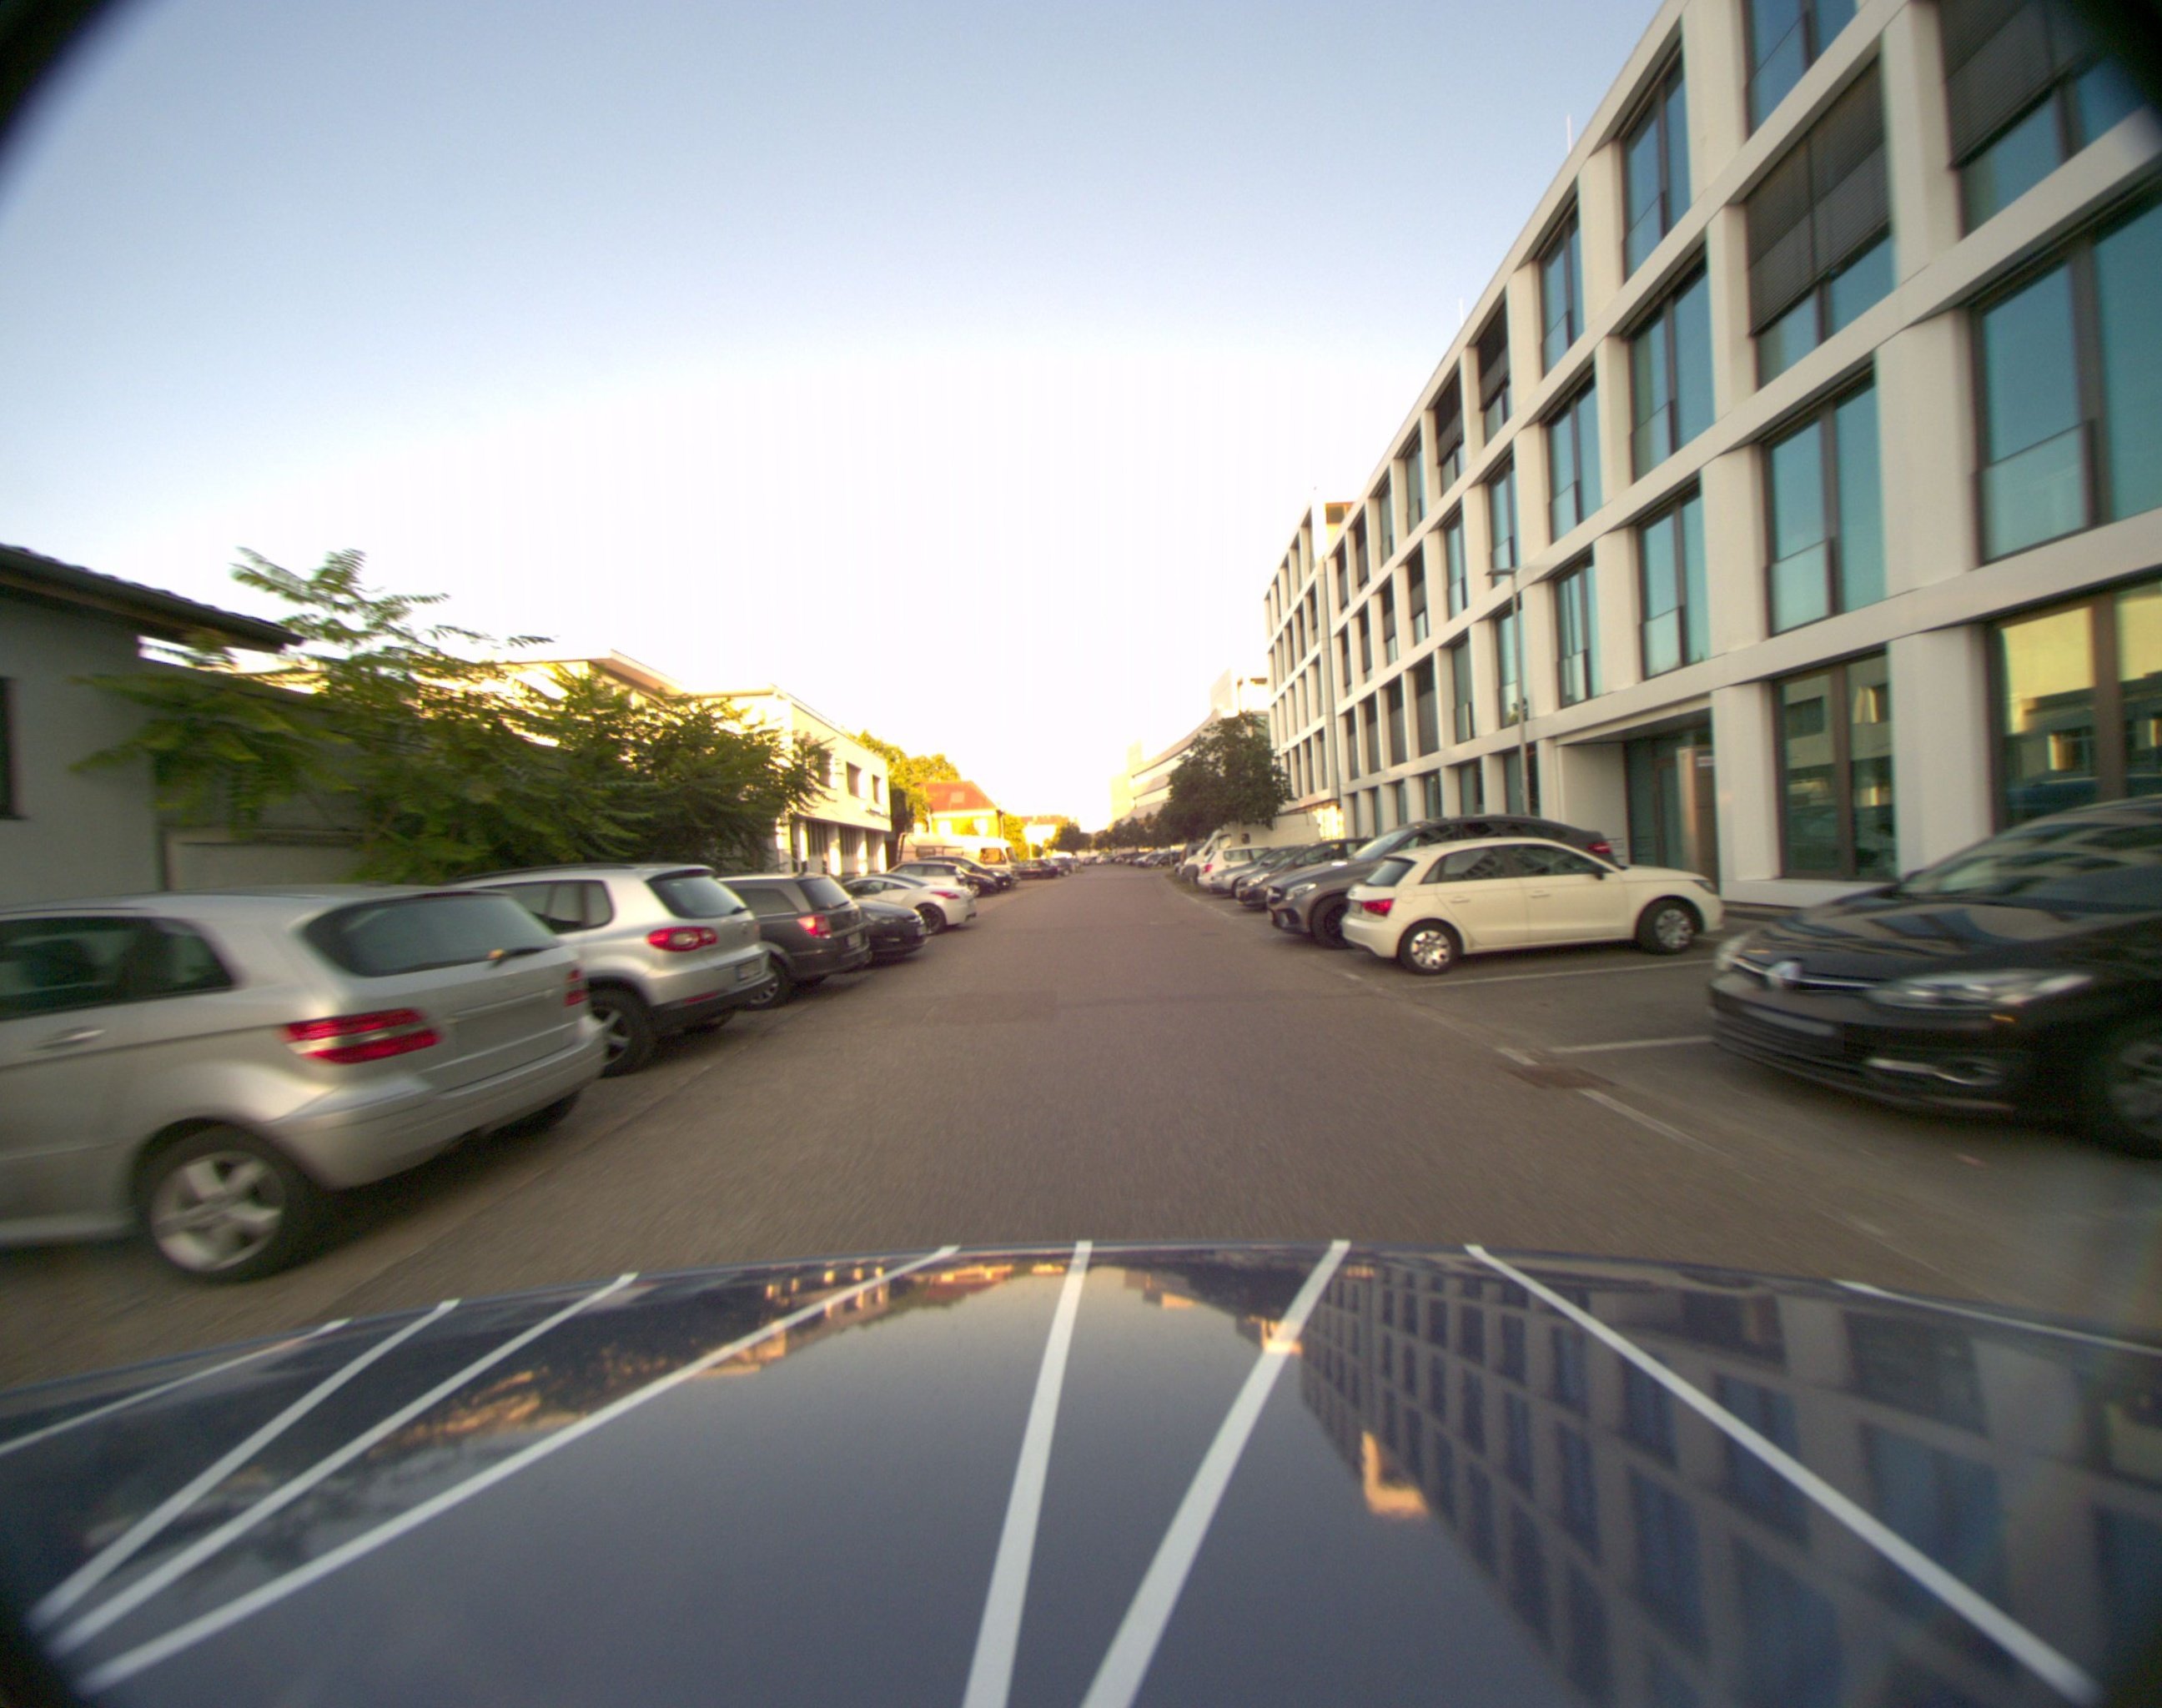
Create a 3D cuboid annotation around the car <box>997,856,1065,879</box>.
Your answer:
[{"bbox_3d":[-3.286,0.884,50.513,4.326,1.326,1.896,-2,1,-1],"label":"car"}]

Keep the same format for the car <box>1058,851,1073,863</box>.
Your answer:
[{"bbox_3d":[-1.985,0.389,96.954,1.770,1.454,4.367,-3,0,-3],"label":"car"}]

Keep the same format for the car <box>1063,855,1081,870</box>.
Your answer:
[{"bbox_3d":[-0.868,0.836,78.286,1.680,1.454,4.368,-3,0,1],"label":"car"}]

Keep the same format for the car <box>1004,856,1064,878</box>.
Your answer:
[{"bbox_3d":[-3.225,0.883,52.925,4.066,1.399,1.896,-2,0,-1],"label":"car"}]

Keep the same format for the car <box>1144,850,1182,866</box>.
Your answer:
[{"bbox_3d":[8.513,0.419,79.151,3.654,1.416,1.726,-5,0,2],"label":"car"}]

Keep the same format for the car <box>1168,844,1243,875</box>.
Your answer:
[{"bbox_3d":[7.408,0.329,45.464,4.118,1.509,1.845,-4,0,1],"label":"car"}]

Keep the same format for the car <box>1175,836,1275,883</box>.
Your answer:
[{"bbox_3d":[6.564,0.257,35.003,4.119,1.806,1.816,-4,0,-1],"label":"car"}]

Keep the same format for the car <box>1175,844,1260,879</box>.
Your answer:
[{"bbox_3d":[7.136,0.385,39.981,4.118,1.509,1.781,-4,0,2],"label":"car"}]

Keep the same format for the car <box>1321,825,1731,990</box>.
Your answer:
[{"bbox_3d":[4.905,0.585,8.859,3.674,1.502,1.697,-4,0,6],"label":"car"}]

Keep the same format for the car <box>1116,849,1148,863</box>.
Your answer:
[{"bbox_3d":[7.045,0.315,105.248,4.028,1.574,1.798,-5,0,-9],"label":"car"}]

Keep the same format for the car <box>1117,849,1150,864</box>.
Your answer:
[{"bbox_3d":[7.009,0.327,102.413,4.028,1.574,1.798,-5,0,-9],"label":"car"}]

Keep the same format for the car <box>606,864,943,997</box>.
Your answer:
[{"bbox_3d":[-4.443,1.087,11.490,4.212,1.494,1.890,-4,1,3],"label":"car"}]

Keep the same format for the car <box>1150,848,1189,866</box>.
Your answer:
[{"bbox_3d":[8.928,0.302,76.492,3.654,1.538,1.726,-5,0,2],"label":"car"}]

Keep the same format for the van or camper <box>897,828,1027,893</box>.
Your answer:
[{"bbox_3d":[-5.683,0.293,36.859,5.795,2.848,2.486,-2,1,0],"label":"van or camper"}]

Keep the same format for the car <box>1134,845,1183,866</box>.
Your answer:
[{"bbox_3d":[8.609,0.144,84.471,5.083,1.870,1.889,-5,0,-3],"label":"car"}]

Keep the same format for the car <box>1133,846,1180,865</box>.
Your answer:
[{"bbox_3d":[8.885,0.184,89.450,5.083,1.816,1.889,-5,0,-3],"label":"car"}]

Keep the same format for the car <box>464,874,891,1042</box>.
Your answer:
[{"bbox_3d":[-4.548,1.144,9.027,3.993,1.437,1.827,-4,1,2],"label":"car"}]

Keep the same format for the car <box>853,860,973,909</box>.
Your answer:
[{"bbox_3d":[-5.751,1.026,26.261,3.714,1.470,1.712,-2,0,0],"label":"car"}]

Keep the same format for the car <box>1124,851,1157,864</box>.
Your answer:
[{"bbox_3d":[7.579,0.433,96.771,3.812,1.353,1.799,-5,0,-3],"label":"car"}]

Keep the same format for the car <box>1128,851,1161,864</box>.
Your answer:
[{"bbox_3d":[7.823,0.454,94.204,3.812,1.353,1.799,-5,0,-3],"label":"car"}]

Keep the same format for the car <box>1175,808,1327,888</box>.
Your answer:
[{"bbox_3d":[6.553,-0.205,29.799,5.393,2.617,2.079,-4,0,4],"label":"car"}]

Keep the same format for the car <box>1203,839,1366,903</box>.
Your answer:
[{"bbox_3d":[5.912,0.490,22.517,4.317,1.486,1.795,-4,0,4],"label":"car"}]

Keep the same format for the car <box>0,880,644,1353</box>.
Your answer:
[{"bbox_3d":[-4.793,1.110,3.783,3.994,1.600,1.939,-4,0,0],"label":"car"}]

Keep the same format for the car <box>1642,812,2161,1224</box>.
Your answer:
[{"bbox_3d":[5.499,0.567,3.757,3.973,1.502,1.796,-4,0,4],"label":"car"}]

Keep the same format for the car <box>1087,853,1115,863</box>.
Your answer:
[{"bbox_3d":[3.224,0.679,122.767,4.028,1.340,1.798,-5,0,-9],"label":"car"}]

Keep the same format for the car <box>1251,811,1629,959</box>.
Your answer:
[{"bbox_3d":[5.067,0.448,11.386,4.628,1.696,2.005,-4,0,6],"label":"car"}]

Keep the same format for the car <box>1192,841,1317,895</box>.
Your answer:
[{"bbox_3d":[5.685,0.457,25.195,3.716,1.486,1.708,-4,0,3],"label":"car"}]

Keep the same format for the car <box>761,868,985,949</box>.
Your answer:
[{"bbox_3d":[-4.401,1.139,16.445,4.212,1.359,1.824,-4,0,5],"label":"car"}]

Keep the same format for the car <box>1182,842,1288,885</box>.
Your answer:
[{"bbox_3d":[6.551,0.396,32.623,4.119,1.490,1.774,-4,0,-1],"label":"car"}]

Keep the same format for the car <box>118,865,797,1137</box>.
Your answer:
[{"bbox_3d":[-4.772,1.056,6.357,3.994,1.610,1.827,-4,0,-2],"label":"car"}]

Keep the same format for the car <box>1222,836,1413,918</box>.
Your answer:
[{"bbox_3d":[5.332,0.515,17.496,3.790,1.513,1.694,-4,0,1],"label":"car"}]

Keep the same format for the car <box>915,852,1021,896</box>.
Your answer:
[{"bbox_3d":[-4.967,0.873,33.747,4.249,1.731,1.968,-2,1,6],"label":"car"}]

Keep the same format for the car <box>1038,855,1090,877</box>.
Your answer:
[{"bbox_3d":[-1.373,0.943,59.815,3.738,1.486,1.647,-3,0,-15],"label":"car"}]

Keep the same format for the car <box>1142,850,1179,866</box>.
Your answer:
[{"bbox_3d":[8.538,0.393,81.795,3.654,1.416,1.725,-5,0,1],"label":"car"}]

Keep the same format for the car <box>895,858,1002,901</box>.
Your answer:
[{"bbox_3d":[-5.289,0.996,30.688,4.015,1.554,1.711,-2,0,-3],"label":"car"}]

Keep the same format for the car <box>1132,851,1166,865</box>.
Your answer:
[{"bbox_3d":[8.146,0.445,91.525,3.812,1.353,1.799,-5,0,-3],"label":"car"}]

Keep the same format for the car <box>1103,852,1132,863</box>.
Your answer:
[{"bbox_3d":[5.401,0.521,112.347,4.028,1.340,1.798,-5,0,-9],"label":"car"}]
